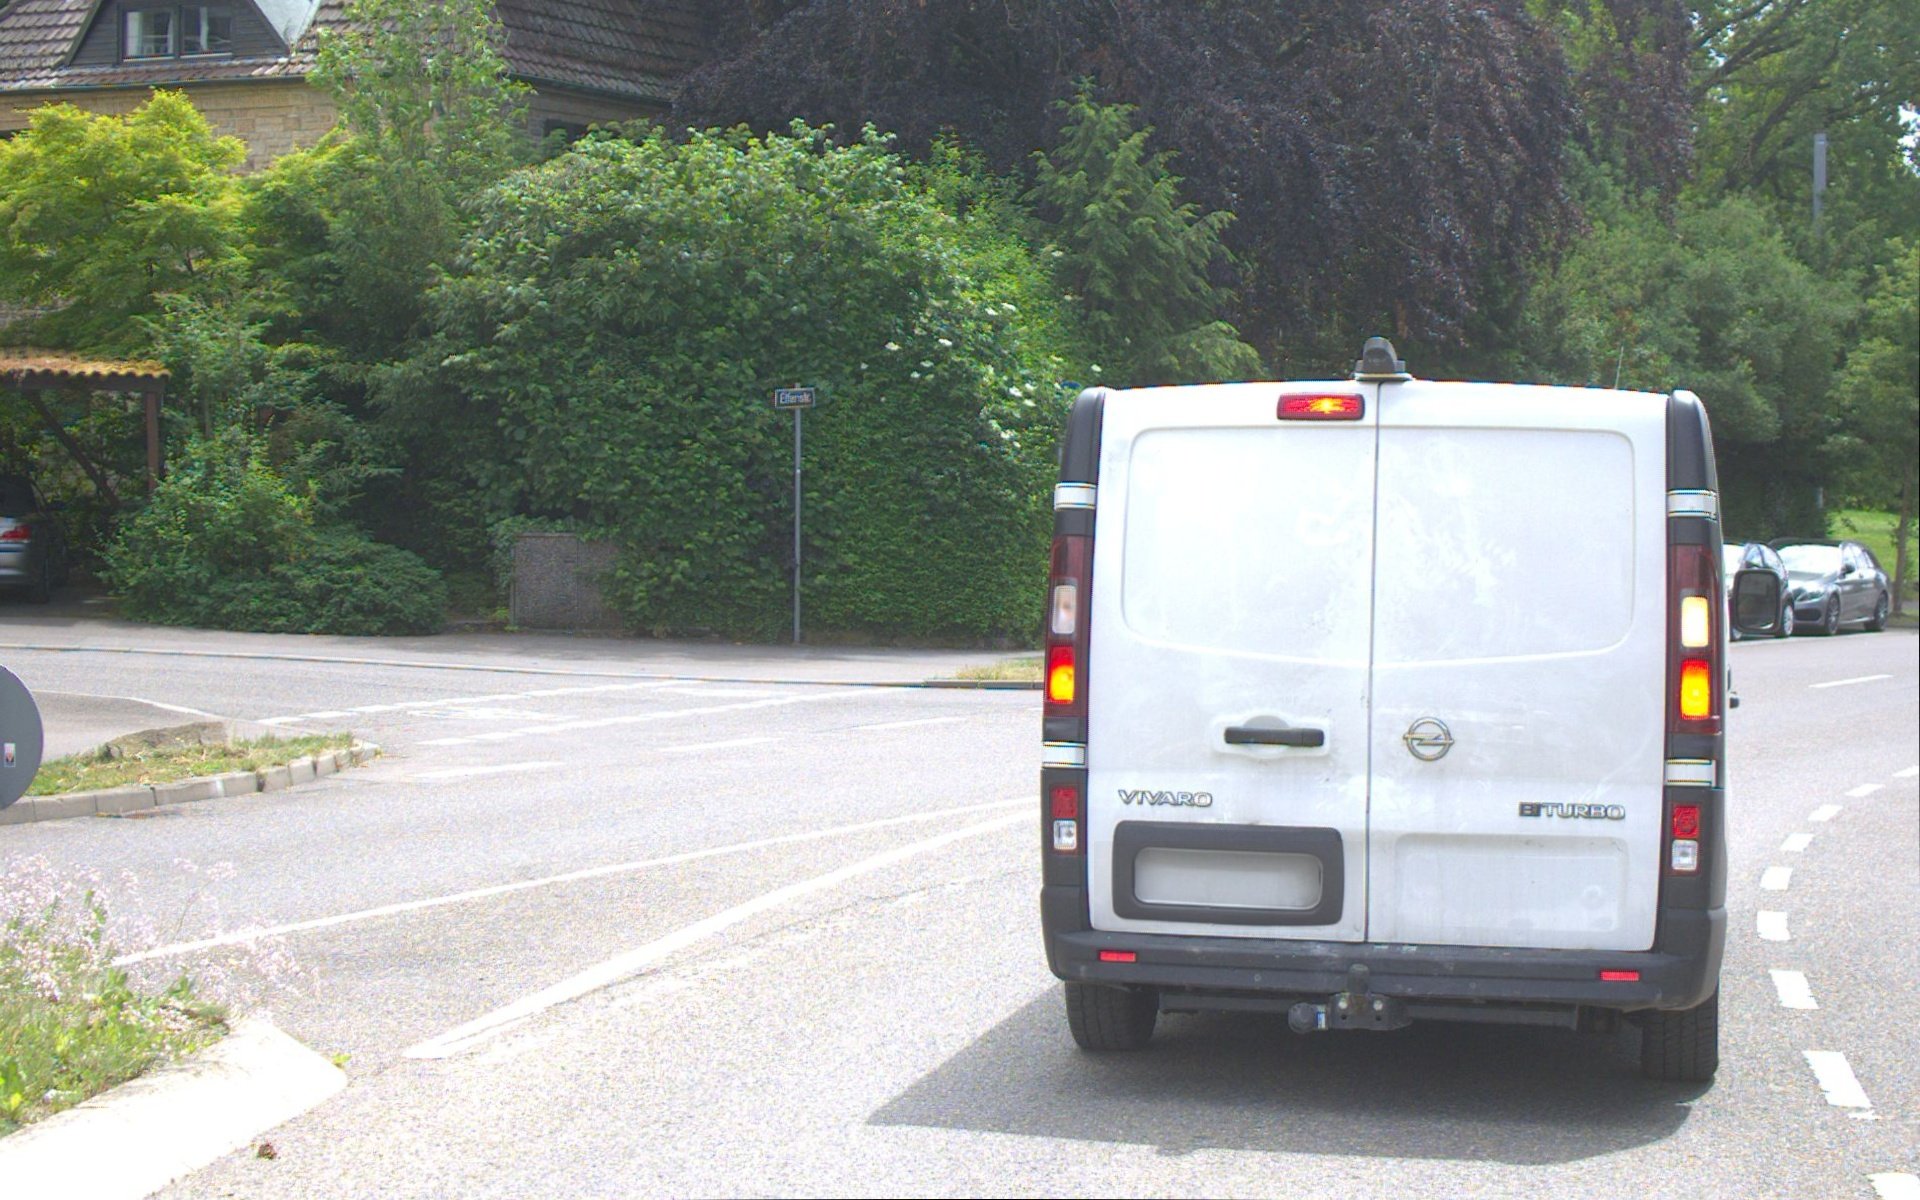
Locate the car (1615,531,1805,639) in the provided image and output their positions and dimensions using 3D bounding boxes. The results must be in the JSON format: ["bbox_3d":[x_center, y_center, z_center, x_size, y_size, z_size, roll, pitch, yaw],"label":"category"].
[{"bbox_3d":[10.953,-0.234,50.054,1.598,1.445,3.590,3,2,31],"label":"car"}]

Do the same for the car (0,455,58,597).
[{"bbox_3d":[-11.150,-0.890,38.866,1.722,1.504,4.002,1,2,-13],"label":"car"}]

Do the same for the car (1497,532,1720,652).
[{"bbox_3d":[8.674,-0.130,45.756,1.652,1.445,4.098,3,2,29],"label":"car"}]

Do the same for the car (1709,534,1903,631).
[{"bbox_3d":[13.260,-0.294,53.686,1.698,1.360,4.679,4,2,29],"label":"car"}]

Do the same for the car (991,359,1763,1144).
[{"bbox_3d":[1.584,0.326,11.156,1.940,1.954,4.830,1,1,13],"label":"car"}]
